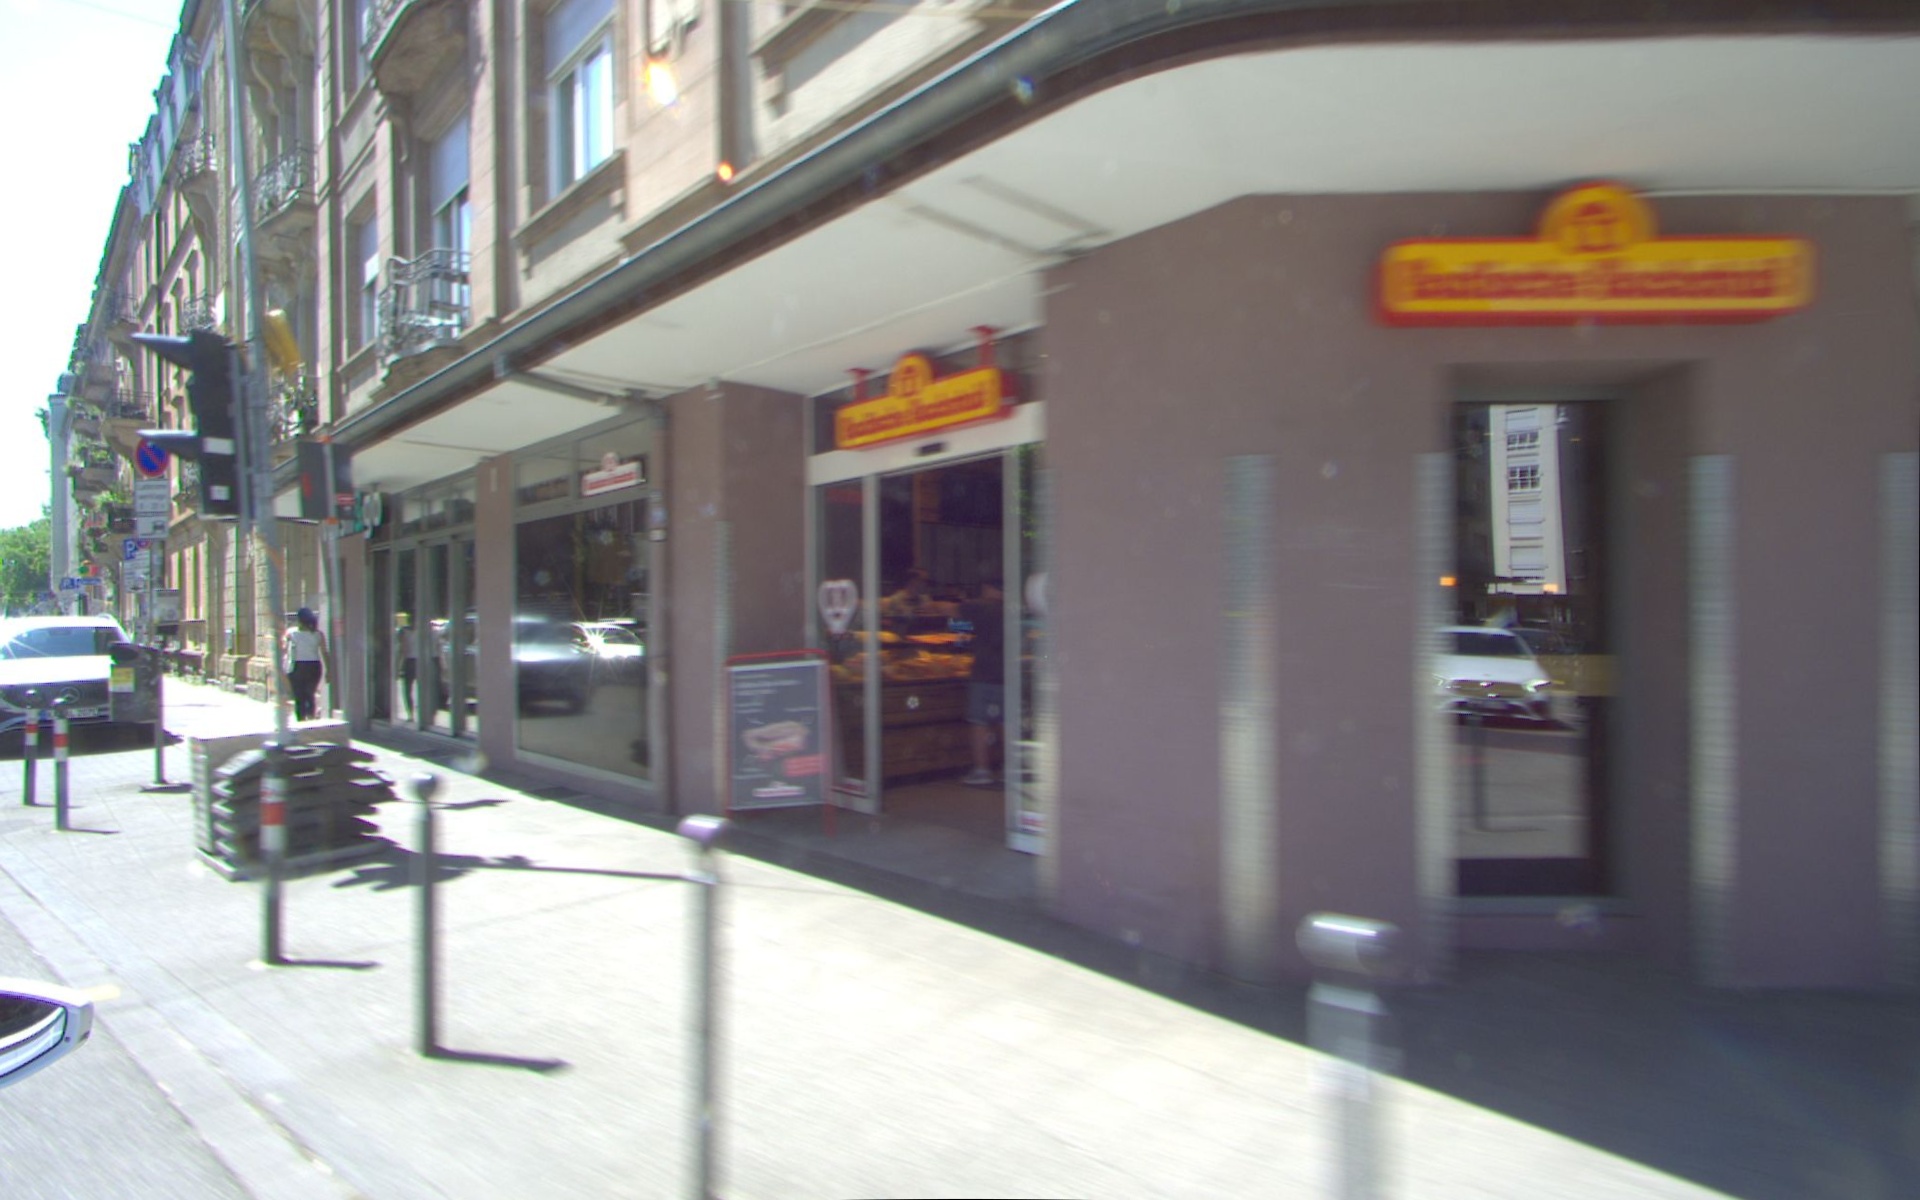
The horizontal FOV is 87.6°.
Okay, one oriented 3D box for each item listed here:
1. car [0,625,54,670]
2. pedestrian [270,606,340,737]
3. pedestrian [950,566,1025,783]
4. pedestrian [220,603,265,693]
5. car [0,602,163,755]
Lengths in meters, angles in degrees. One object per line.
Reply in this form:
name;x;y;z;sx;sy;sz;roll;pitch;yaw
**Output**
car;-31.885;1.575;33.870;1.743;1.448;3.962;0;-1;-44
pedestrian;-8.580;0.909;13.113;0.637;1.645;0.796;0;0;-44
pedestrian;0.208;0.572;7.882;0.543;1.649;0.450;0;0;-4
pedestrian;-14.573;0.960;20.342;0.740;1.774;0.510;0;2;39
car;-12.227;0.957;13.558;1.858;1.736;4.461;-2;0;-43
